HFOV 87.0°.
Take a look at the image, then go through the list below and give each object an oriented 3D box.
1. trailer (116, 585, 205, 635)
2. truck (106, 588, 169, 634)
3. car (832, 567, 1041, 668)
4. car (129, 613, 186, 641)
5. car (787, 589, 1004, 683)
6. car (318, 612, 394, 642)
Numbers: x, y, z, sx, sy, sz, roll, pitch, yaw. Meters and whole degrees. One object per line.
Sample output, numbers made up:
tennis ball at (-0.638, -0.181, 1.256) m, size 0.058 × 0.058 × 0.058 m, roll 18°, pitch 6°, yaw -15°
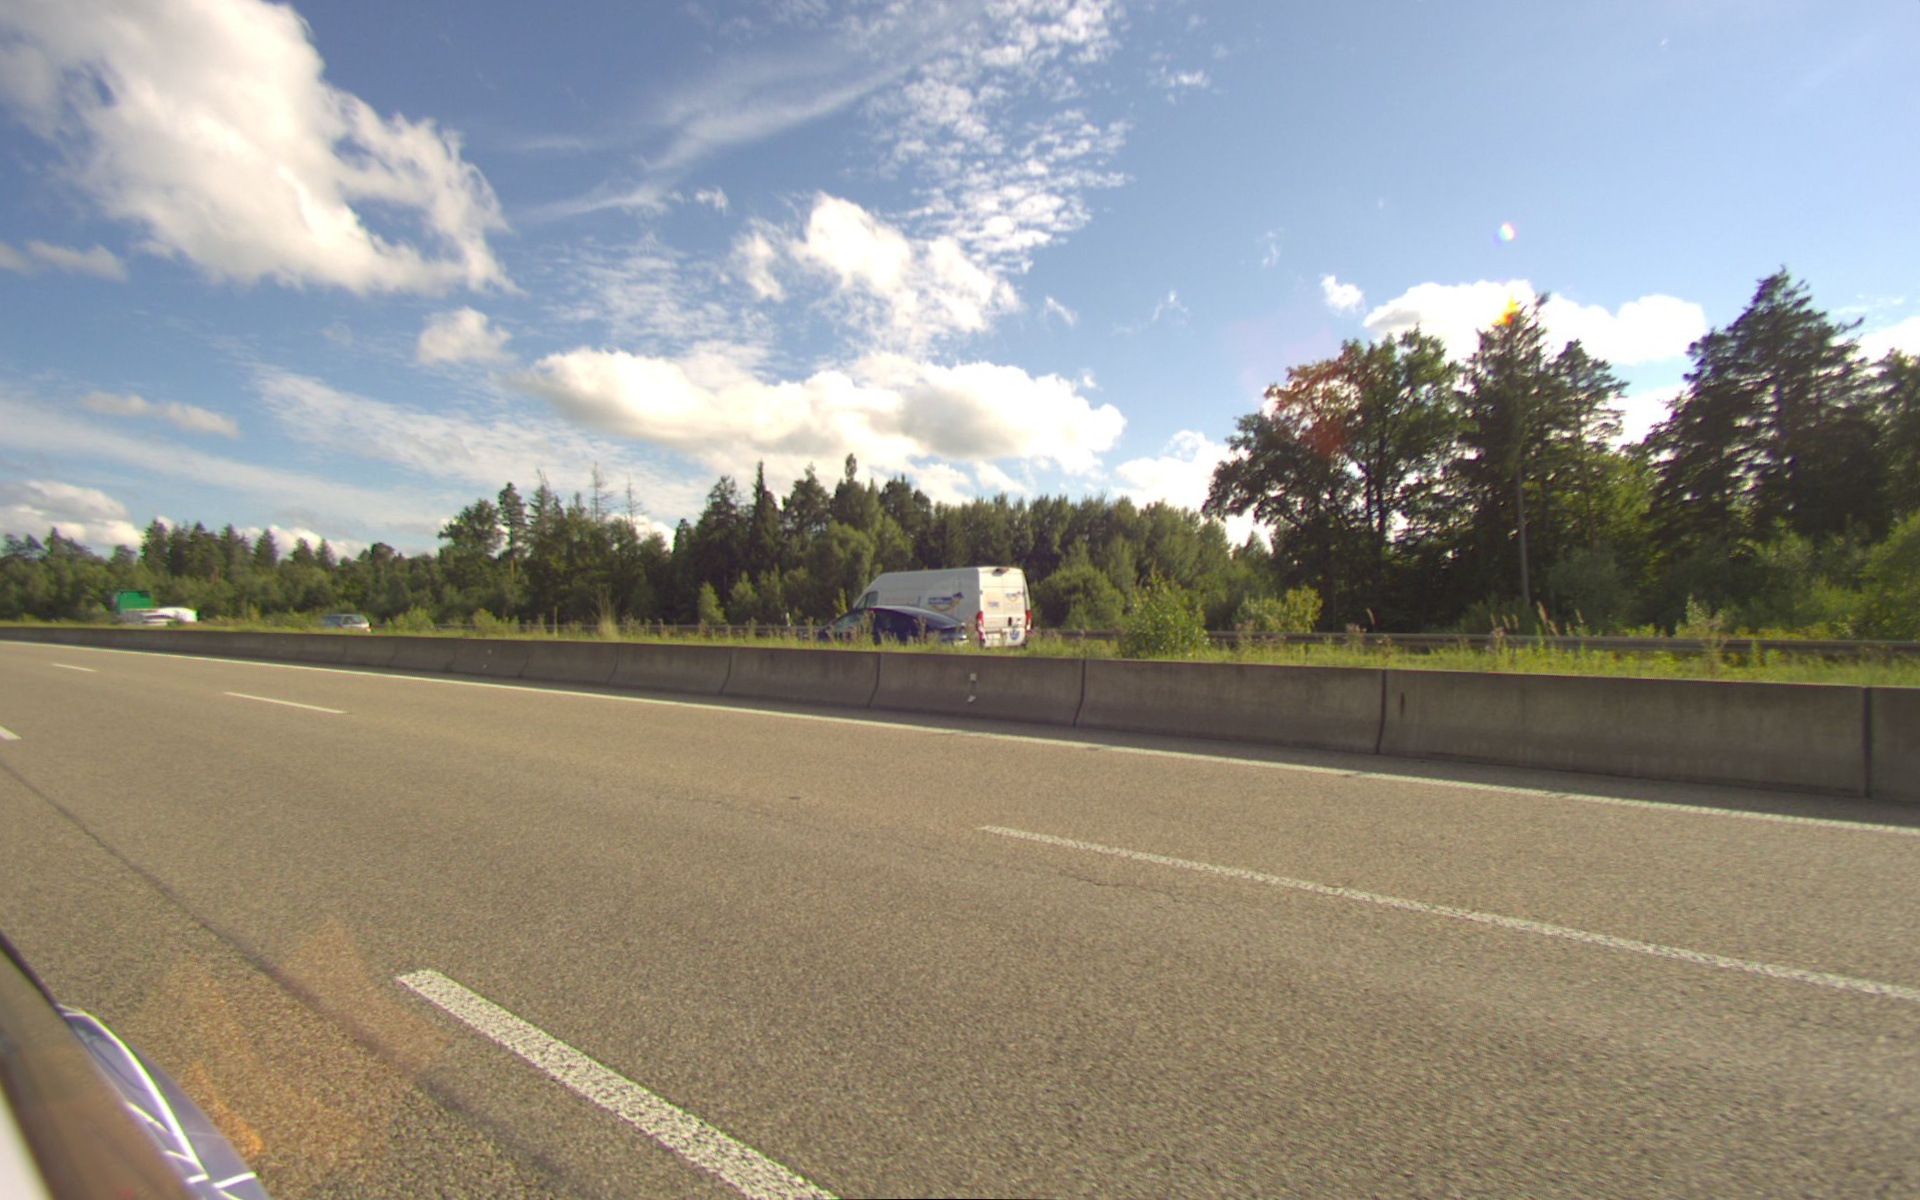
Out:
trailer at (-68.954, 0.908, 87.126) m, size 13.628 × 4.039 × 3.342 m, roll -1°, pitch -1°, yaw 40°
truck at (-74.809, 1.014, 92.035) m, size 5.858 × 4.039 × 3.342 m, roll -1°, pitch -1°, yaw 40°
car at (-0.685, 0.427, 25.271) m, size 5.201 × 2.261 × 2.043 m, roll -1°, pitch -1°, yaw 41°
car at (-48.564, 1.630, 61.205) m, size 4.461 × 1.621 × 1.906 m, roll -1°, pitch -1°, yaw 40°
car at (-1.416, 0.697, 20.988) m, size 4.320 × 1.746 × 2.043 m, roll -1°, pitch -1°, yaw 41°
car at (-30.348, 1.352, 50.773) m, size 4.461 × 1.413 × 1.973 m, roll -1°, pitch -1°, yaw 40°
